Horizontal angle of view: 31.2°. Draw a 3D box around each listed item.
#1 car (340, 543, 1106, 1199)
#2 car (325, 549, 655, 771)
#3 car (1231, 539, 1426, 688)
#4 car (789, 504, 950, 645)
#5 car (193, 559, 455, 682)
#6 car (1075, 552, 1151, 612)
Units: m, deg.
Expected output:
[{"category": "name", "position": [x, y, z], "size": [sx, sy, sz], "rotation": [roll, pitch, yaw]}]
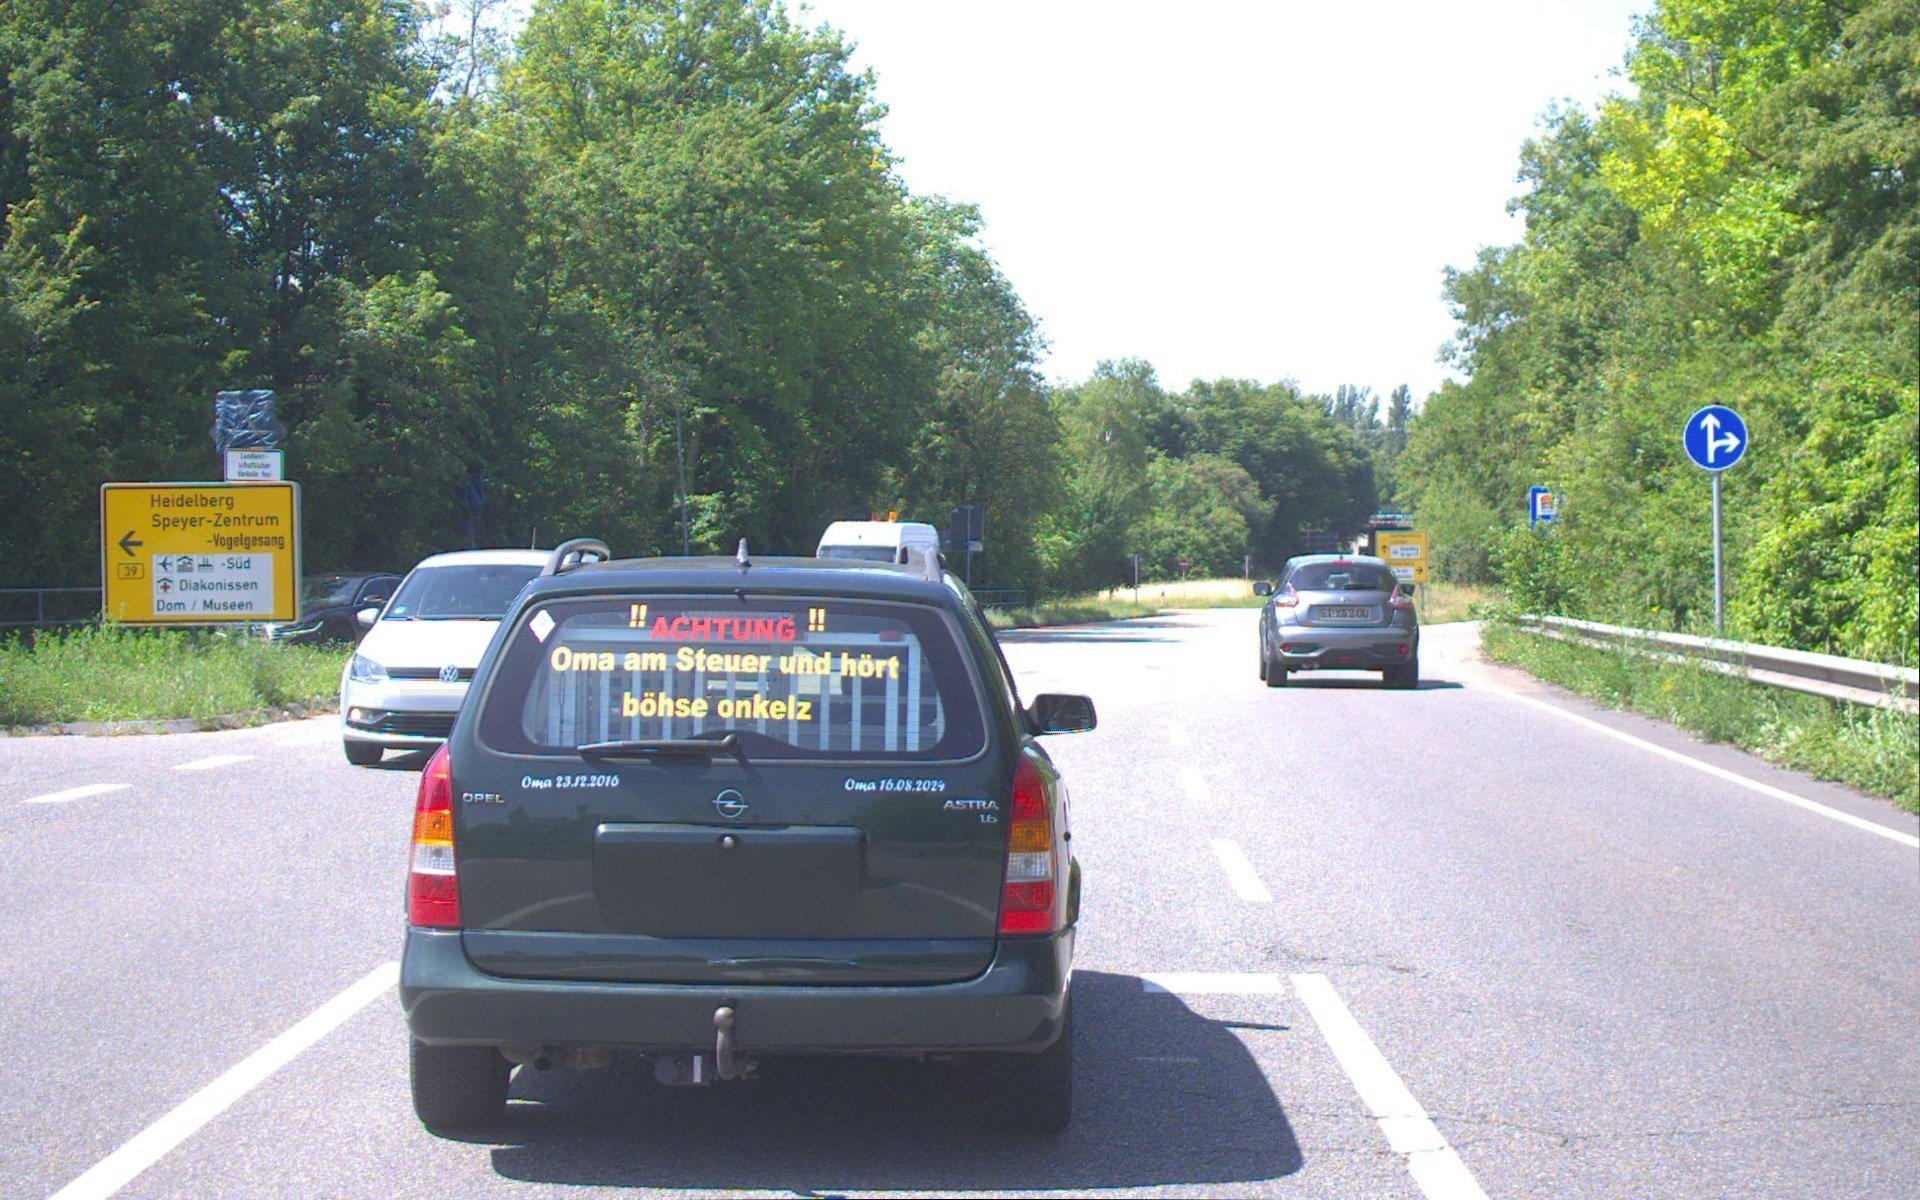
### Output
[{"category": "car", "position": [-0.537, 0.585, 9.663], "size": [1.720, 1.452, 3.798], "rotation": [0, 1, 0]}, {"category": "car", "position": [-3.204, 0.366, 24.068], "size": [1.644, 1.414, 3.766], "rotation": [1, 1, 2]}, {"category": "car", "position": [4.362, 0.118, 41.203], "size": [1.843, 1.679, 4.000], "rotation": [0, 1, -1]}, {"category": "car", "position": [-1.848, -0.558, 72.598], "size": [2.106, 2.840, 6.009], "rotation": [1, 1, 11]}, {"category": "car", "position": [-9.144, 0.264, 49.730], "size": [1.674, 1.656, 3.995], "rotation": [0, 1, 26]}, {"category": "car", "position": [8.265, -1.008, 186.465], "size": [1.993, 3.215, 4.809], "rotation": [-1, 1, -27]}]
